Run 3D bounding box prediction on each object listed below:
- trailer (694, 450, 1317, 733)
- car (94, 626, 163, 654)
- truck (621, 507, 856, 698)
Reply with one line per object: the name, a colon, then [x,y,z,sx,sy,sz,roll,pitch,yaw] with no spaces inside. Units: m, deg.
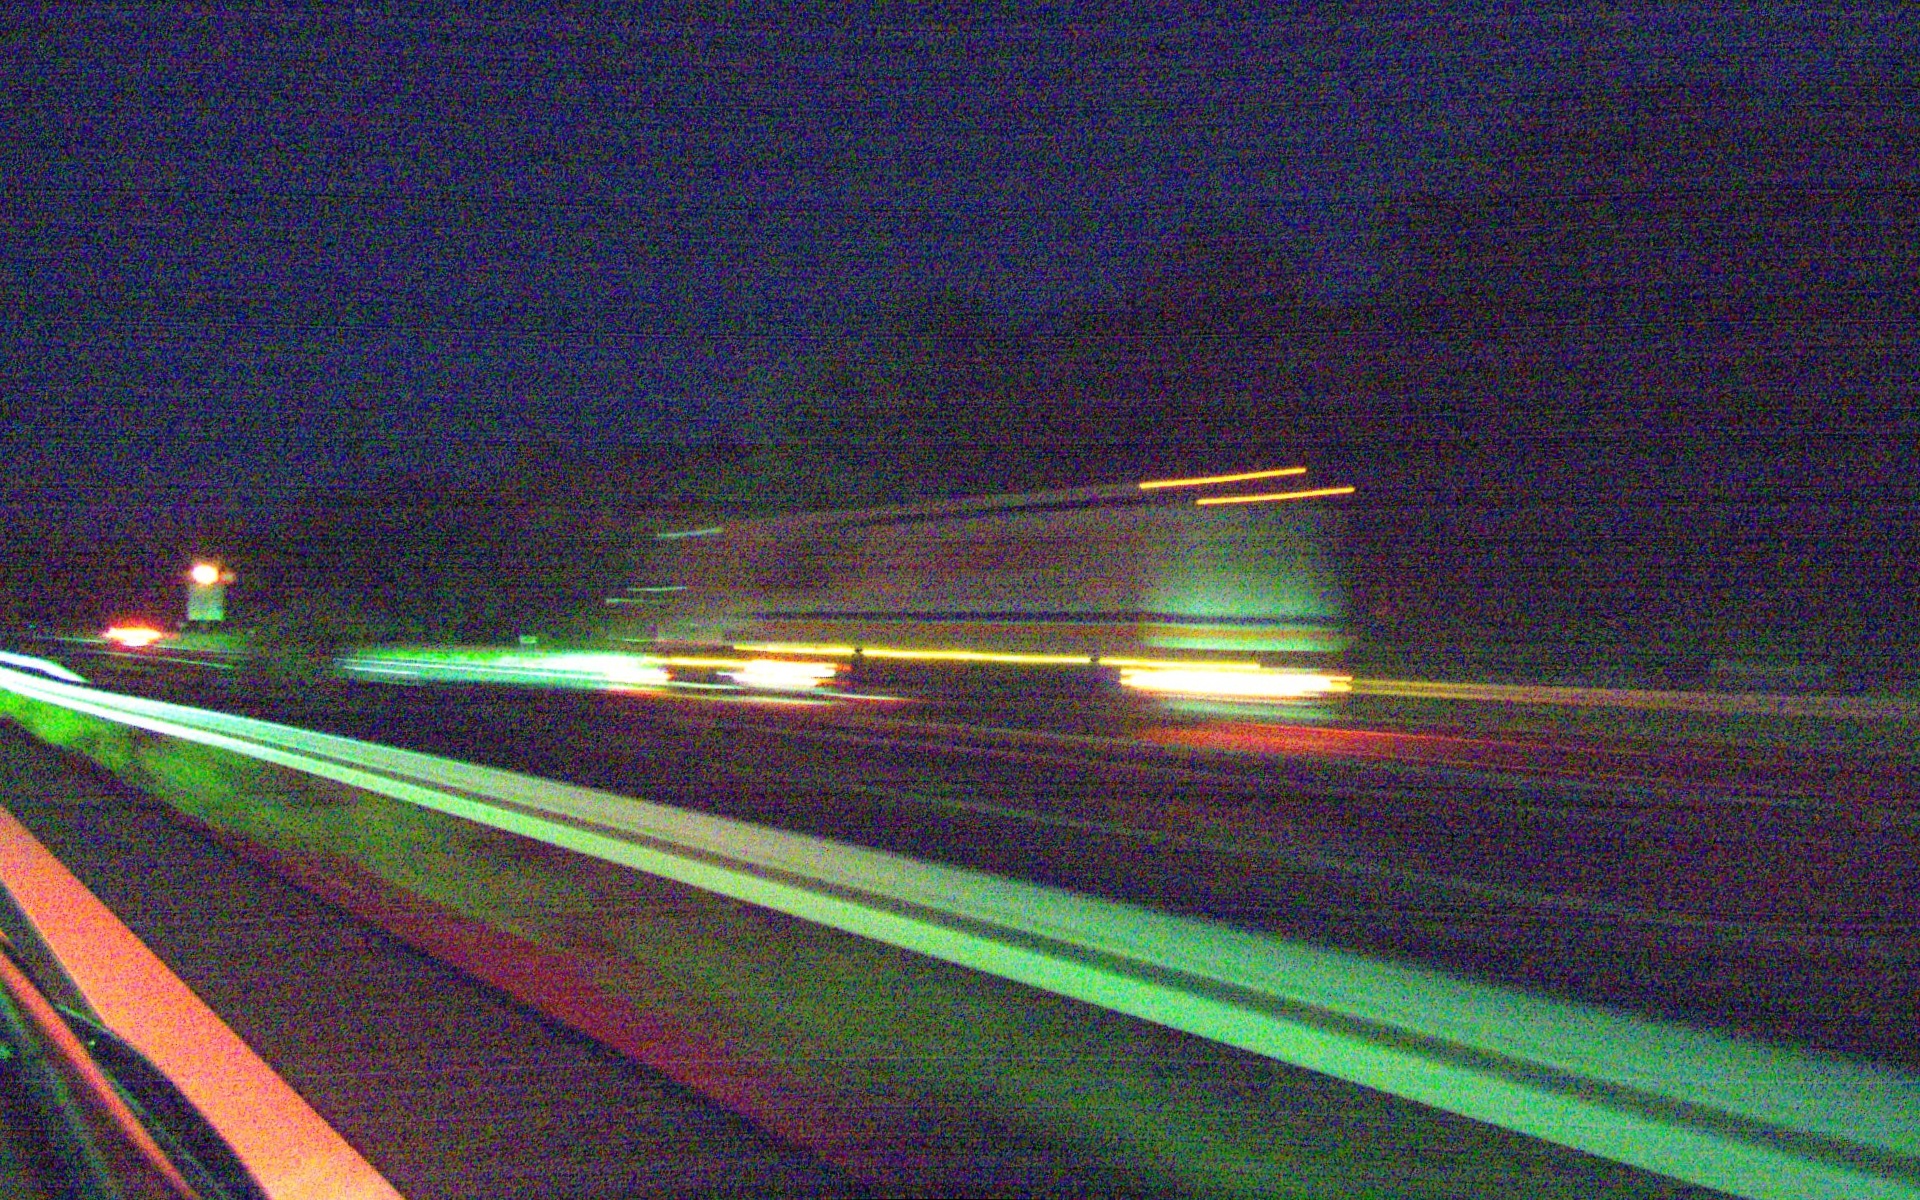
trailer: [-0.110,0.000,20.650,13.896,4.208,2.830,-1,-3,41]
car: [-45.921,2.208,55.870,4.686,1.472,1.974,-1,-3,39]
truck: [-5.632,0.133,25.350,5.822,4.244,2.725,-1,-3,41]
